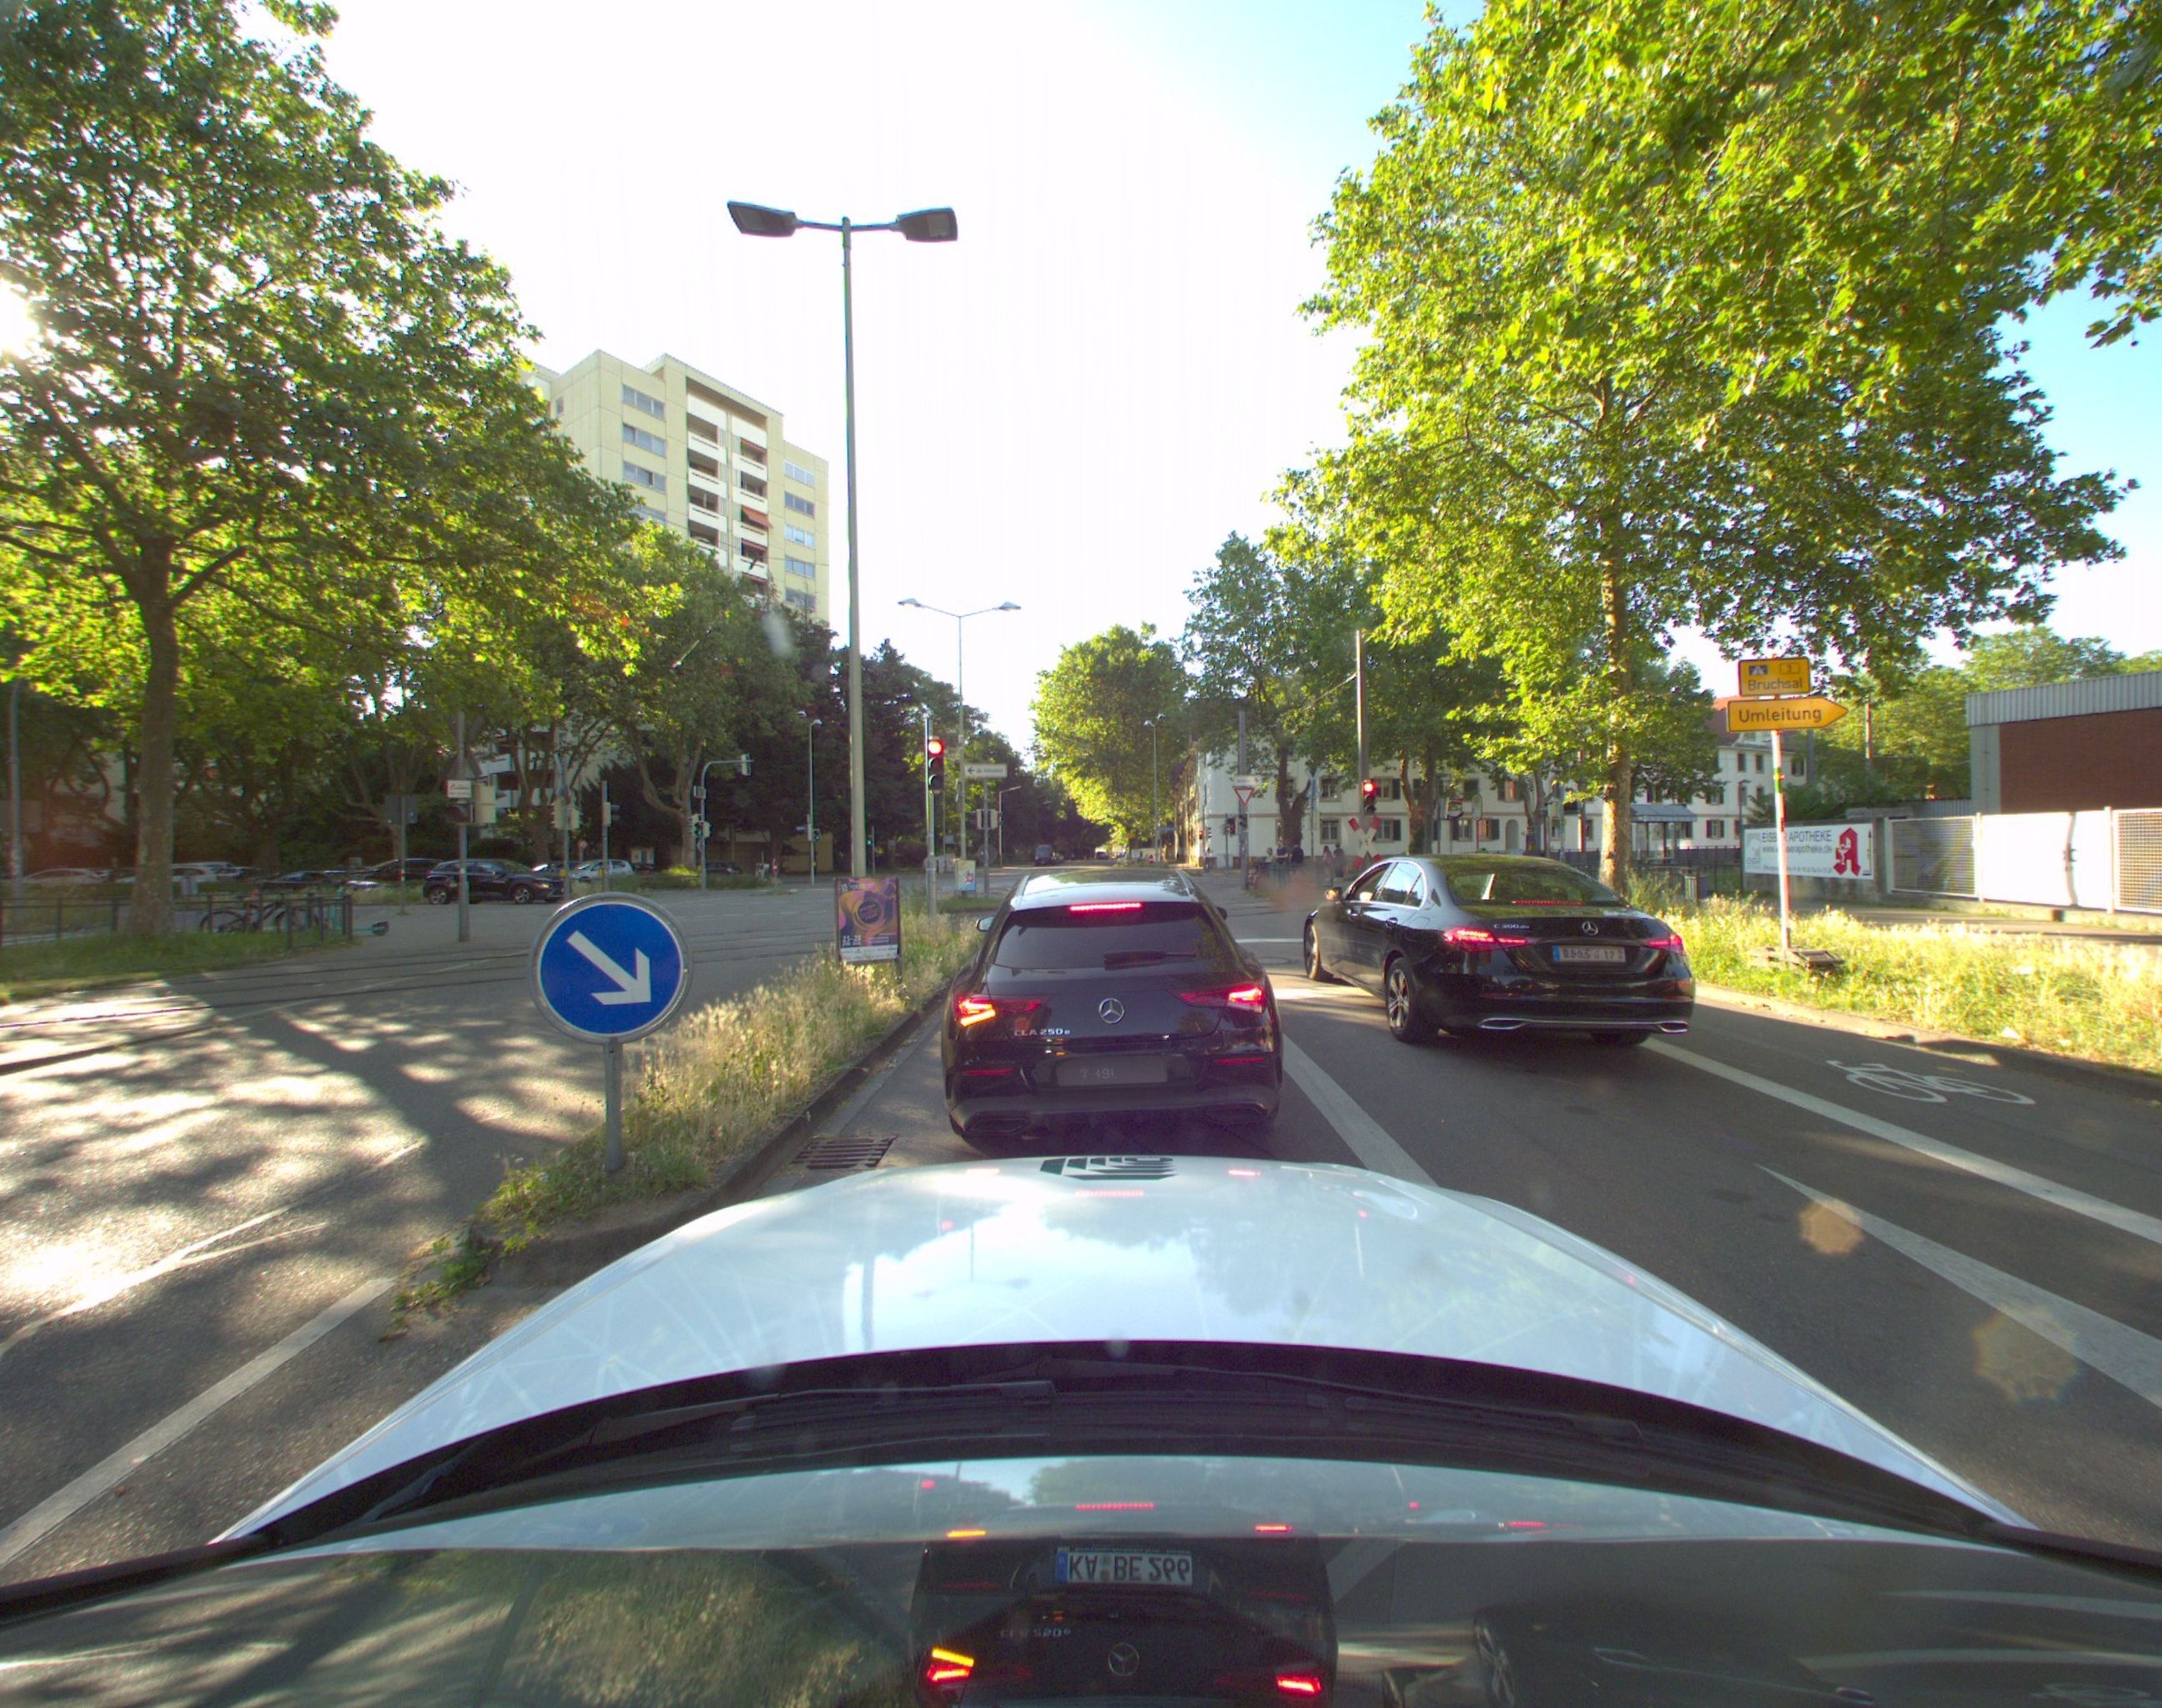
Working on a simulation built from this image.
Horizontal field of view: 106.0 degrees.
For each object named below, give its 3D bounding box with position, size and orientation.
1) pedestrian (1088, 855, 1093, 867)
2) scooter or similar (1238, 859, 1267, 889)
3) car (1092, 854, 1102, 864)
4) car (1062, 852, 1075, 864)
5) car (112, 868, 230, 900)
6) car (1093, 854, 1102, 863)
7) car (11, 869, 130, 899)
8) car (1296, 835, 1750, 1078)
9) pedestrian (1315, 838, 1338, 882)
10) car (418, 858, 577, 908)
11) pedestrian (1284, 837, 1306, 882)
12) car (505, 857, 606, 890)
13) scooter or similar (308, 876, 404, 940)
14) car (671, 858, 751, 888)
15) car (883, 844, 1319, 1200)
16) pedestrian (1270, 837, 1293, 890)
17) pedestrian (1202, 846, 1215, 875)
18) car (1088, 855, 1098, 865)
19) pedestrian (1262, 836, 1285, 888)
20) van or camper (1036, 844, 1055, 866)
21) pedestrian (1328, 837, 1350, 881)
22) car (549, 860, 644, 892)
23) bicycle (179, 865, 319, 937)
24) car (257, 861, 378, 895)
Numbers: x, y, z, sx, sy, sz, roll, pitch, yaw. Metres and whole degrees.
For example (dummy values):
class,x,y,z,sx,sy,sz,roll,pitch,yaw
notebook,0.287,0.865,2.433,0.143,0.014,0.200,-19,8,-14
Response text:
class,x,y,z,sx,sy,sz,roll,pitch,yaw
pedestrian,1.534,1.050,130.202,0.704,1.918,0.837,0,-1,-8
scooter or similar,6.343,0.731,30.150,0.826,1.104,0.808,0,-1,-4
car,2.912,0.978,150.543,1.727,1.765,4.020,0,-1,2
car,-1.941,0.660,126.595,1.727,1.765,3.972,0,-1,2
car,-49.164,1.586,44.074,1.716,1.596,4.025,-1,-1,32
car,3.243,0.899,158.626,1.727,1.765,4.020,0,-1,2
car,-57.105,1.663,46.077,1.716,1.596,4.025,-1,-1,32
car,3.372,0.607,7.358,1.882,1.490,4.385,0,2,2
pedestrian,10.718,0.259,35.561,0.703,1.918,0.838,0,-1,-2
car,-19.466,0.934,27.307,3.981,1.596,1.735,0,-1,-5
pedestrian,9.256,0.254,35.237,0.703,1.918,0.838,0,-1,-2
car,-27.056,0.972,42.061,1.716,1.596,4.025,-1,-1,32
scooter or similar,-15.098,1.095,16.985,0.408,1.239,1.450,-1,-1,40
car,-22.642,1.142,49.922,3.963,1.774,2.005,-1,-1,9
car,0.196,0.707,5.536,1.881,1.450,4.004,0,2,3
pedestrian,7.408,0.343,30.085,0.680,1.918,0.707,0,-1,0
pedestrian,8.452,0.437,53.977,0.703,1.918,0.838,0,-1,-2
car,2.098,1.005,145.673,1.727,1.765,4.020,0,-1,2
pedestrian,7.284,0.298,30.861,0.681,1.918,0.707,0,-1,-2
van or camper,-4.312,0.127,100.050,1.986,2.541,4.653,0,-1,2
pedestrian,11.569,0.230,36.541,0.703,1.918,0.838,0,-1,-2
car,-24.927,1.098,42.029,1.716,1.596,3.831,-1,-1,32
bicycle,-15.957,0.876,15.672,1.845,1.307,0.380,0,-1,-26
car,-37.418,1.144,40.001,1.716,1.596,4.025,-1,-1,32
